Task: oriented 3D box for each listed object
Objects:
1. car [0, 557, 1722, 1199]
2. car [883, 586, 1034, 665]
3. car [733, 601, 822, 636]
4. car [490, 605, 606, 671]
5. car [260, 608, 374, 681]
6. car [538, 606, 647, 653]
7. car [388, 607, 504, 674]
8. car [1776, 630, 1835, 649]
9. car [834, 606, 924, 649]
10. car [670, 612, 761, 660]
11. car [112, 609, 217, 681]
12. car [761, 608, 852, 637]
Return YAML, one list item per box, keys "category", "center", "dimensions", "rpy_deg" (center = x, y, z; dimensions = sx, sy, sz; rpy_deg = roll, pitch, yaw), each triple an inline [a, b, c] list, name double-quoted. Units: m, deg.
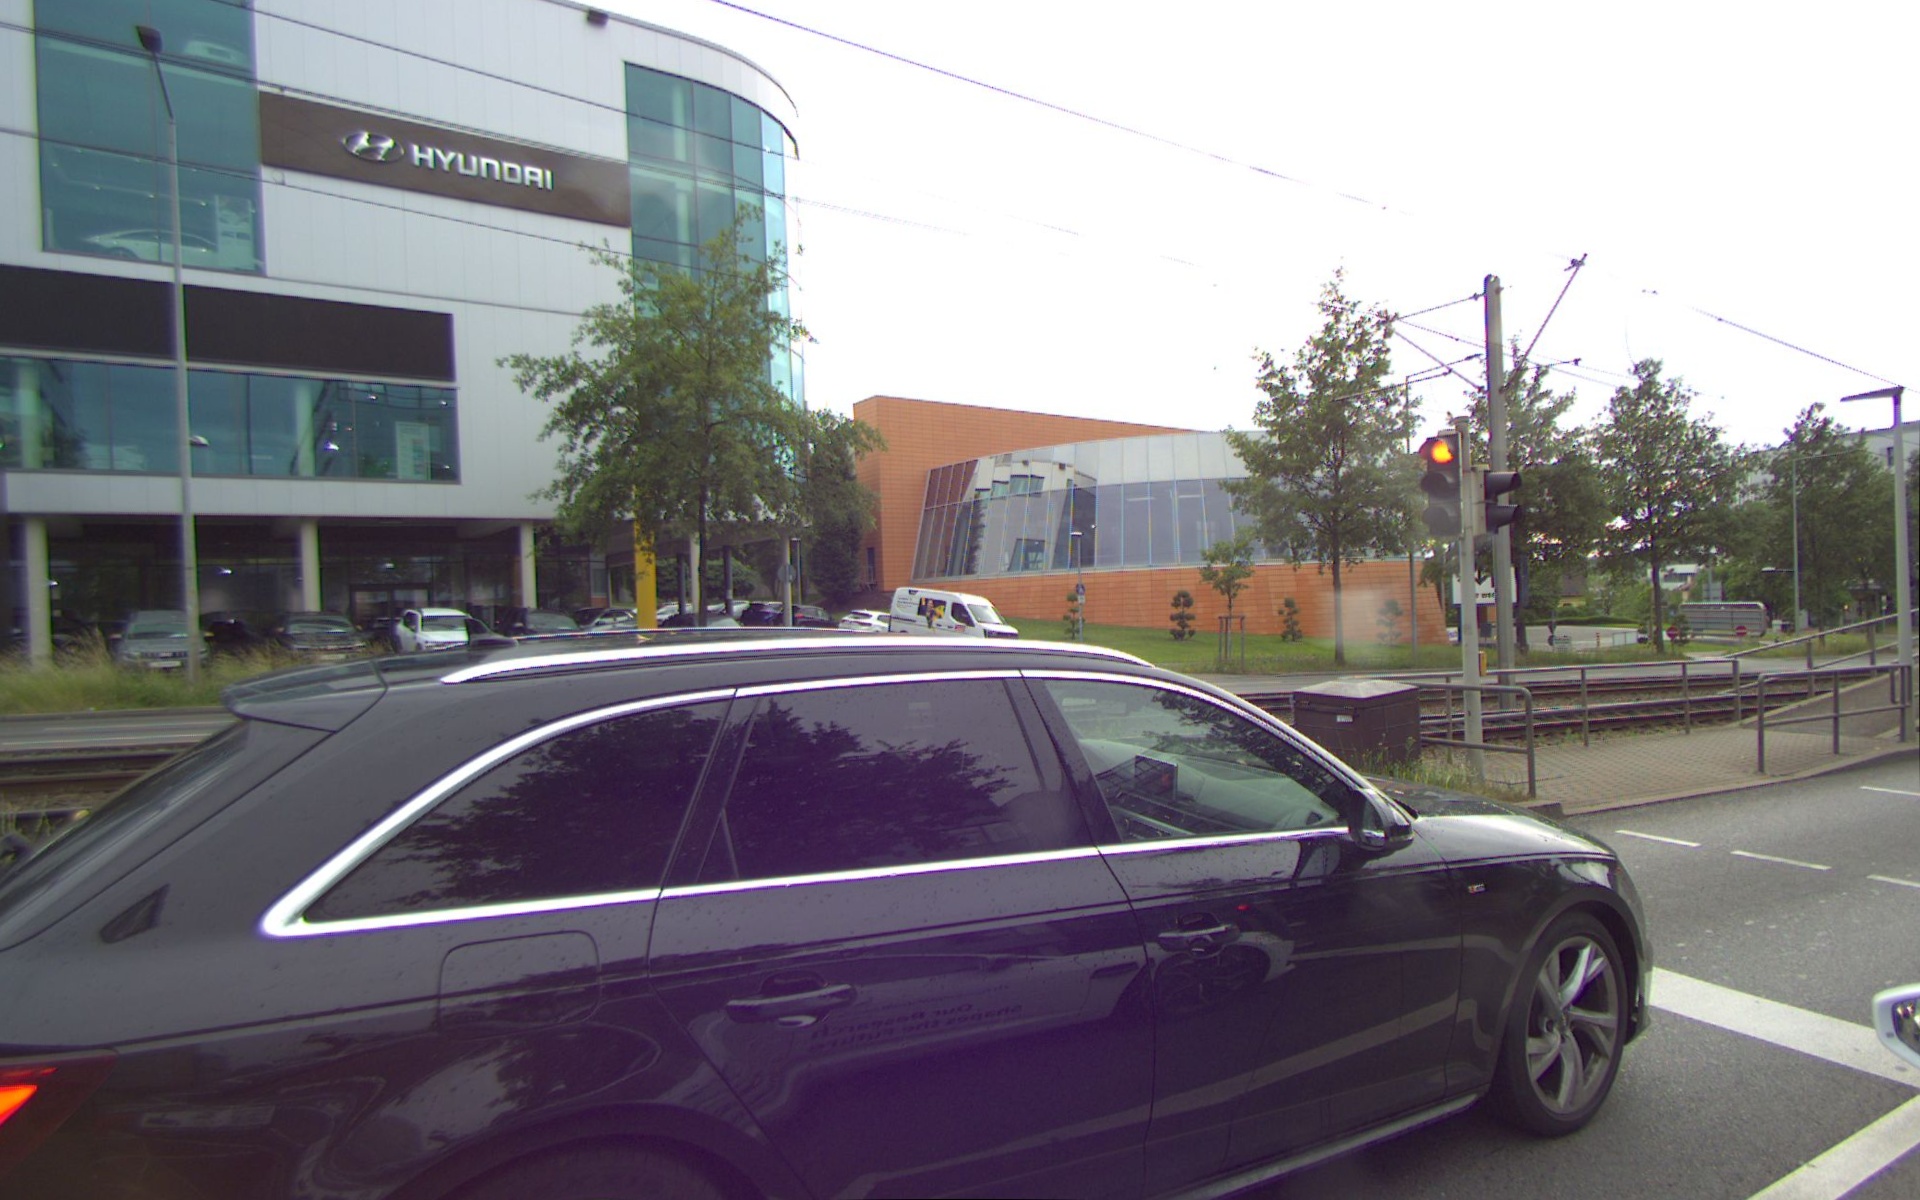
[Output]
- category: "car"
  center: [0.104, 0.726, 2.873]
  dimensions: [4.461, 1.486, 1.772]
  rpy_deg: [1, -1, -31]
- category: "car"
  center: [-0.127, 0.888, 38.110]
  dimensions: [5.544, 2.616, 2.392]
  rpy_deg: [3, 1, 43]
- category: "car"
  center: [-8.877, 0.888, 49.078]
  dimensions: [1.969, 1.653, 3.982]
  rpy_deg: [0, -1, 39]
- category: "car"
  center: [-12.301, 1.069, 29.852]
  dimensions: [1.984, 1.637, 4.324]
  rpy_deg: [1, 1, -40]
- category: "car"
  center: [-16.964, 1.103, 26.390]
  dimensions: [1.984, 1.571, 4.324]
  rpy_deg: [1, 1, -40]
- category: "car"
  center: [-12.840, 1.001, 35.339]
  dimensions: [1.691, 1.572, 3.587]
  rpy_deg: [0, -1, 20]
- category: "car"
  center: [-14.506, 1.069, 28.245]
  dimensions: [1.984, 1.571, 4.324]
  rpy_deg: [1, 1, -40]
- category: "car"
  center: [66.094, 3.073, 78.561]
  dimensions: [1.408, 1.405, 3.371]
  rpy_deg: [0, 0, -13]
- category: "car"
  center: [-3.347, 1.137, 42.159]
  dimensions: [1.703, 1.688, 3.734]
  rpy_deg: [1, -1, 38]
- category: "car"
  center: [-7.800, 1.099, 31.847]
  dimensions: [1.565, 1.409, 3.619]
  rpy_deg: [0, -1, -36]
- category: "car"
  center: [-19.873, 1.061, 25.063]
  dimensions: [1.917, 1.479, 3.974]
  rpy_deg: [1, 1, -40]
- category: "car"
  center: [-7.221, 1.041, 47.509]
  dimensions: [1.969, 1.297, 3.982]
  rpy_deg: [0, -1, 39]
